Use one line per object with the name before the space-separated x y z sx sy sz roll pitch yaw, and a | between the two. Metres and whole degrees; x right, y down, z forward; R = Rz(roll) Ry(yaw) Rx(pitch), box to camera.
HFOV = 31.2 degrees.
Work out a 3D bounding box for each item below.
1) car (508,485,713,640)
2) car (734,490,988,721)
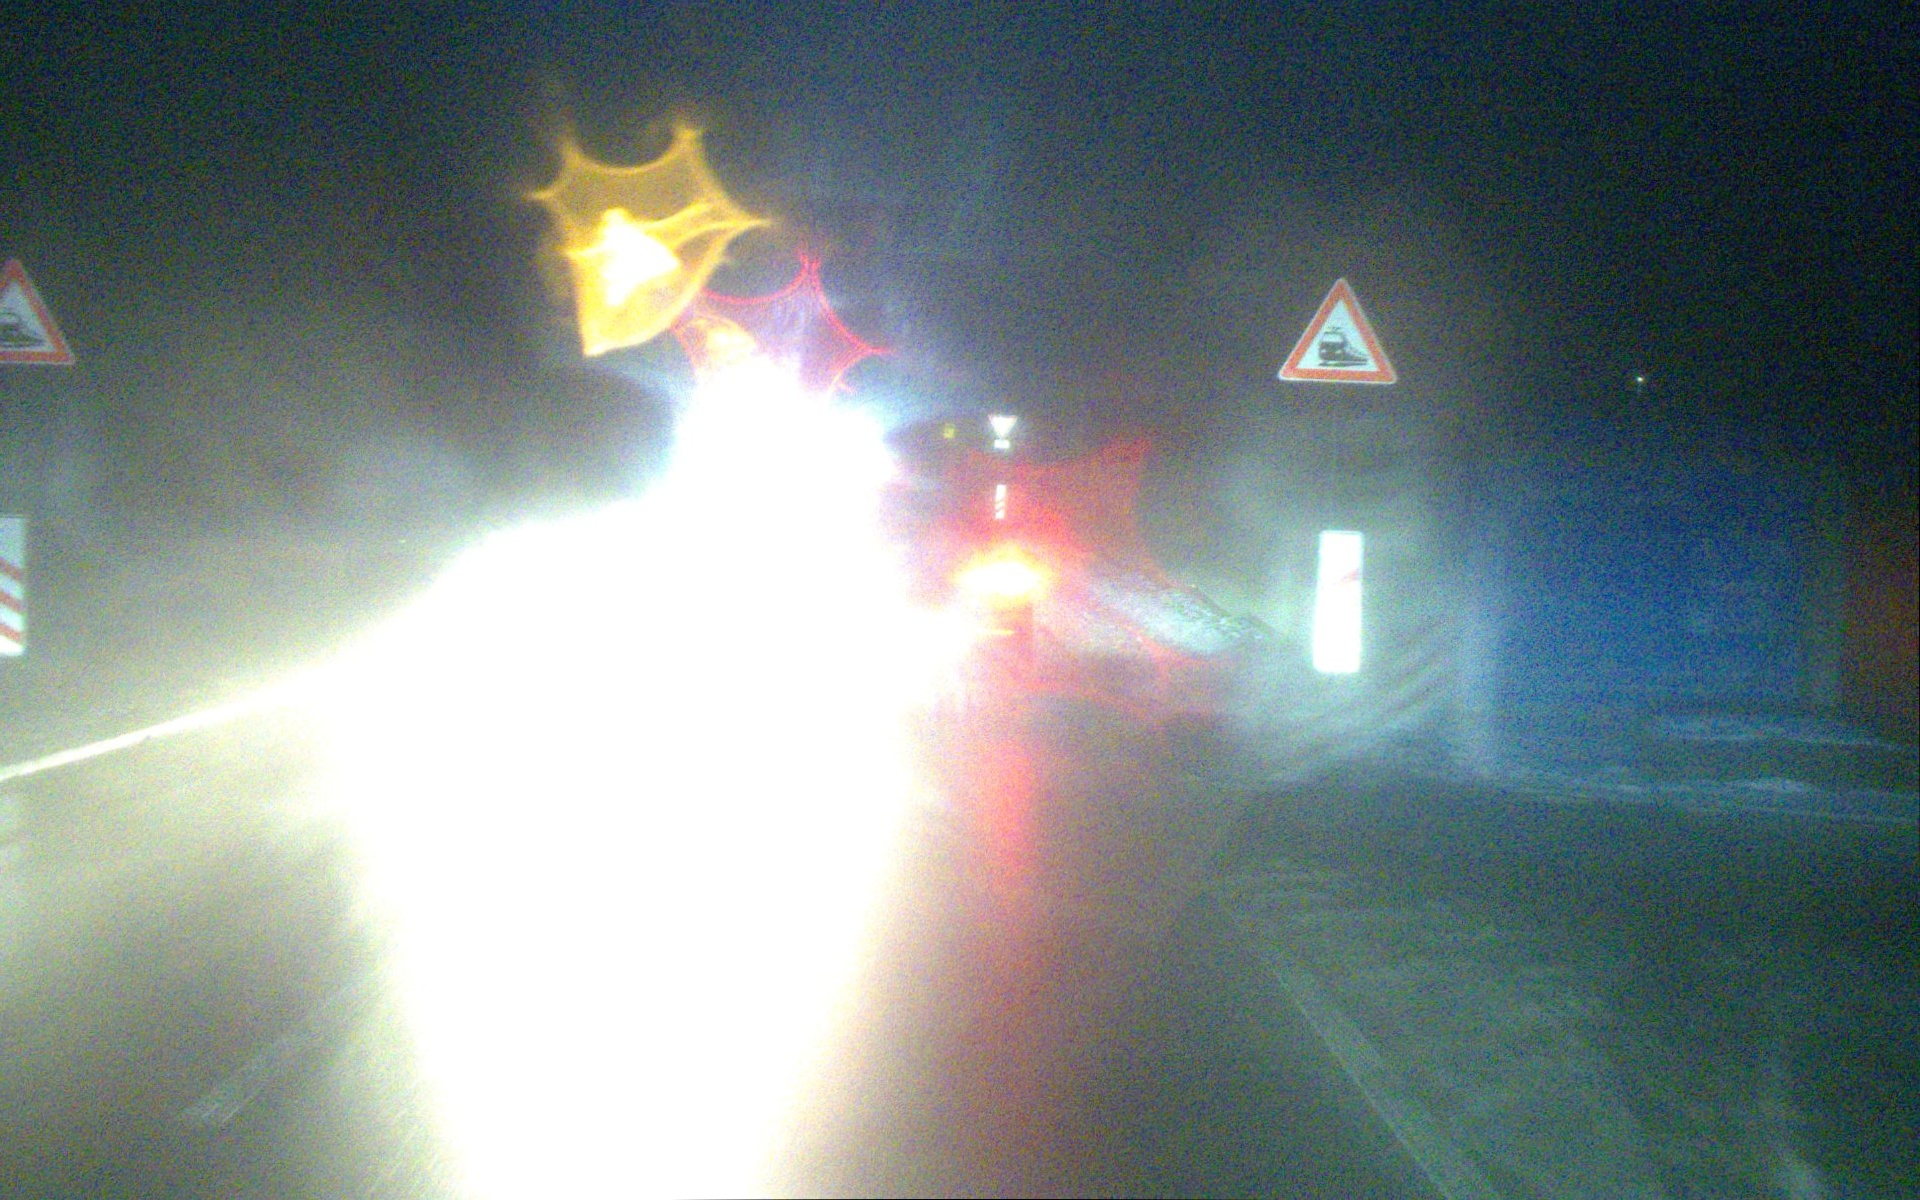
car | -3.688 -0.415 36.784 1.801 1.504 3.615 2 1 -1
car | -0.754 0.004 27.059 1.801 1.623 3.615 2 1 -1
